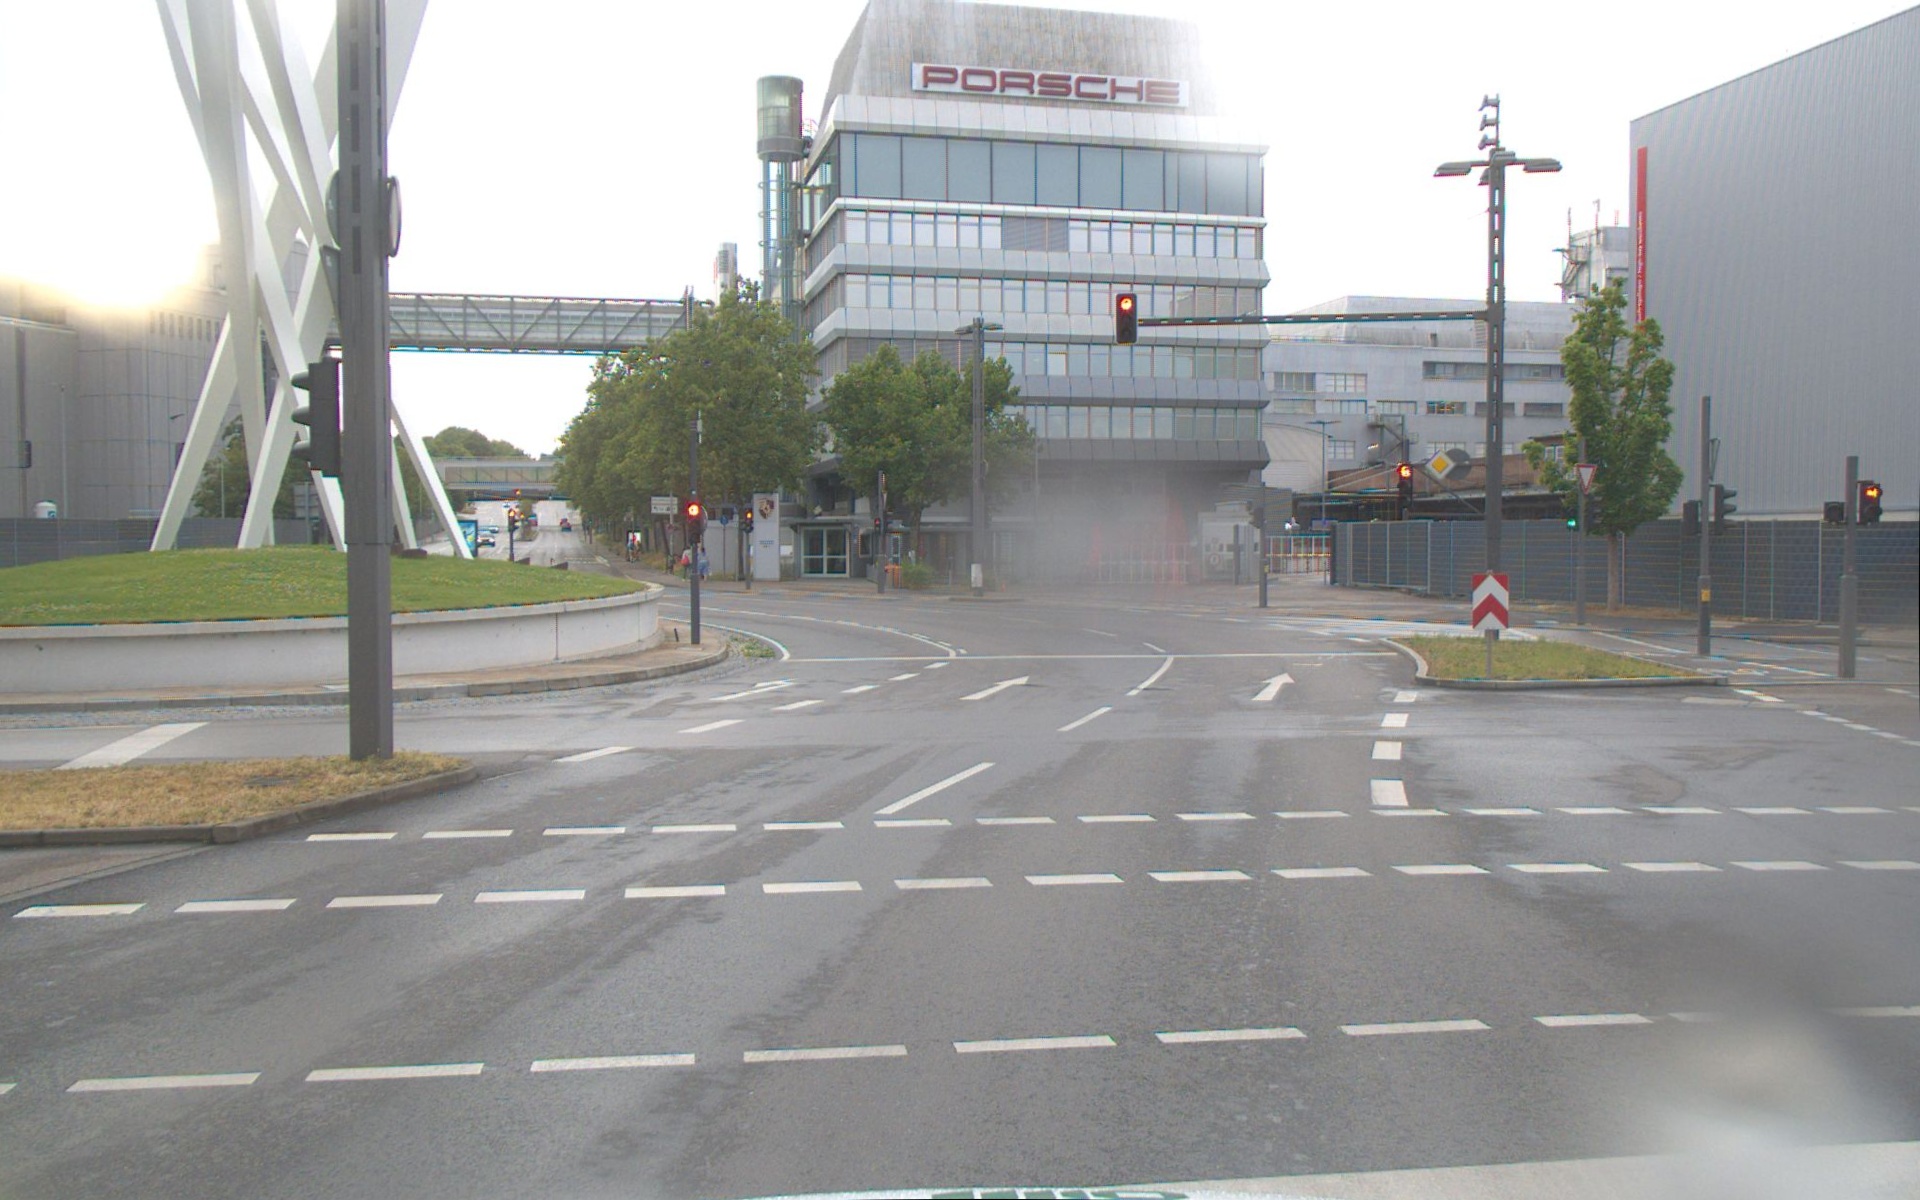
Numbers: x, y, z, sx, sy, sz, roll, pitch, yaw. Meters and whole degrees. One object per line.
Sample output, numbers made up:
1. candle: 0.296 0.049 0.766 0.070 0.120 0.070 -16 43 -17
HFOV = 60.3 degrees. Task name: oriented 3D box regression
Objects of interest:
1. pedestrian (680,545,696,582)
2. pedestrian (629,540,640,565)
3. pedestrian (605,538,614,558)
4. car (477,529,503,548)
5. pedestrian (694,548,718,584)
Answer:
1. pedestrian: -12.075 -1.616 73.481 0.696 1.619 0.839 -1 2 -10
2. pedestrian: -23.128 -3.385 117.481 0.699 1.770 0.757 1 -1 -14
3. pedestrian: -35.094 -5.205 165.527 0.749 2.049 0.693 0 1 3
4. car: -54.929 -7.161 193.466 1.953 2.049 3.999 1 0 -1
5. pedestrian: -11.169 -1.519 72.779 0.821 1.547 0.835 -1 2 -25
